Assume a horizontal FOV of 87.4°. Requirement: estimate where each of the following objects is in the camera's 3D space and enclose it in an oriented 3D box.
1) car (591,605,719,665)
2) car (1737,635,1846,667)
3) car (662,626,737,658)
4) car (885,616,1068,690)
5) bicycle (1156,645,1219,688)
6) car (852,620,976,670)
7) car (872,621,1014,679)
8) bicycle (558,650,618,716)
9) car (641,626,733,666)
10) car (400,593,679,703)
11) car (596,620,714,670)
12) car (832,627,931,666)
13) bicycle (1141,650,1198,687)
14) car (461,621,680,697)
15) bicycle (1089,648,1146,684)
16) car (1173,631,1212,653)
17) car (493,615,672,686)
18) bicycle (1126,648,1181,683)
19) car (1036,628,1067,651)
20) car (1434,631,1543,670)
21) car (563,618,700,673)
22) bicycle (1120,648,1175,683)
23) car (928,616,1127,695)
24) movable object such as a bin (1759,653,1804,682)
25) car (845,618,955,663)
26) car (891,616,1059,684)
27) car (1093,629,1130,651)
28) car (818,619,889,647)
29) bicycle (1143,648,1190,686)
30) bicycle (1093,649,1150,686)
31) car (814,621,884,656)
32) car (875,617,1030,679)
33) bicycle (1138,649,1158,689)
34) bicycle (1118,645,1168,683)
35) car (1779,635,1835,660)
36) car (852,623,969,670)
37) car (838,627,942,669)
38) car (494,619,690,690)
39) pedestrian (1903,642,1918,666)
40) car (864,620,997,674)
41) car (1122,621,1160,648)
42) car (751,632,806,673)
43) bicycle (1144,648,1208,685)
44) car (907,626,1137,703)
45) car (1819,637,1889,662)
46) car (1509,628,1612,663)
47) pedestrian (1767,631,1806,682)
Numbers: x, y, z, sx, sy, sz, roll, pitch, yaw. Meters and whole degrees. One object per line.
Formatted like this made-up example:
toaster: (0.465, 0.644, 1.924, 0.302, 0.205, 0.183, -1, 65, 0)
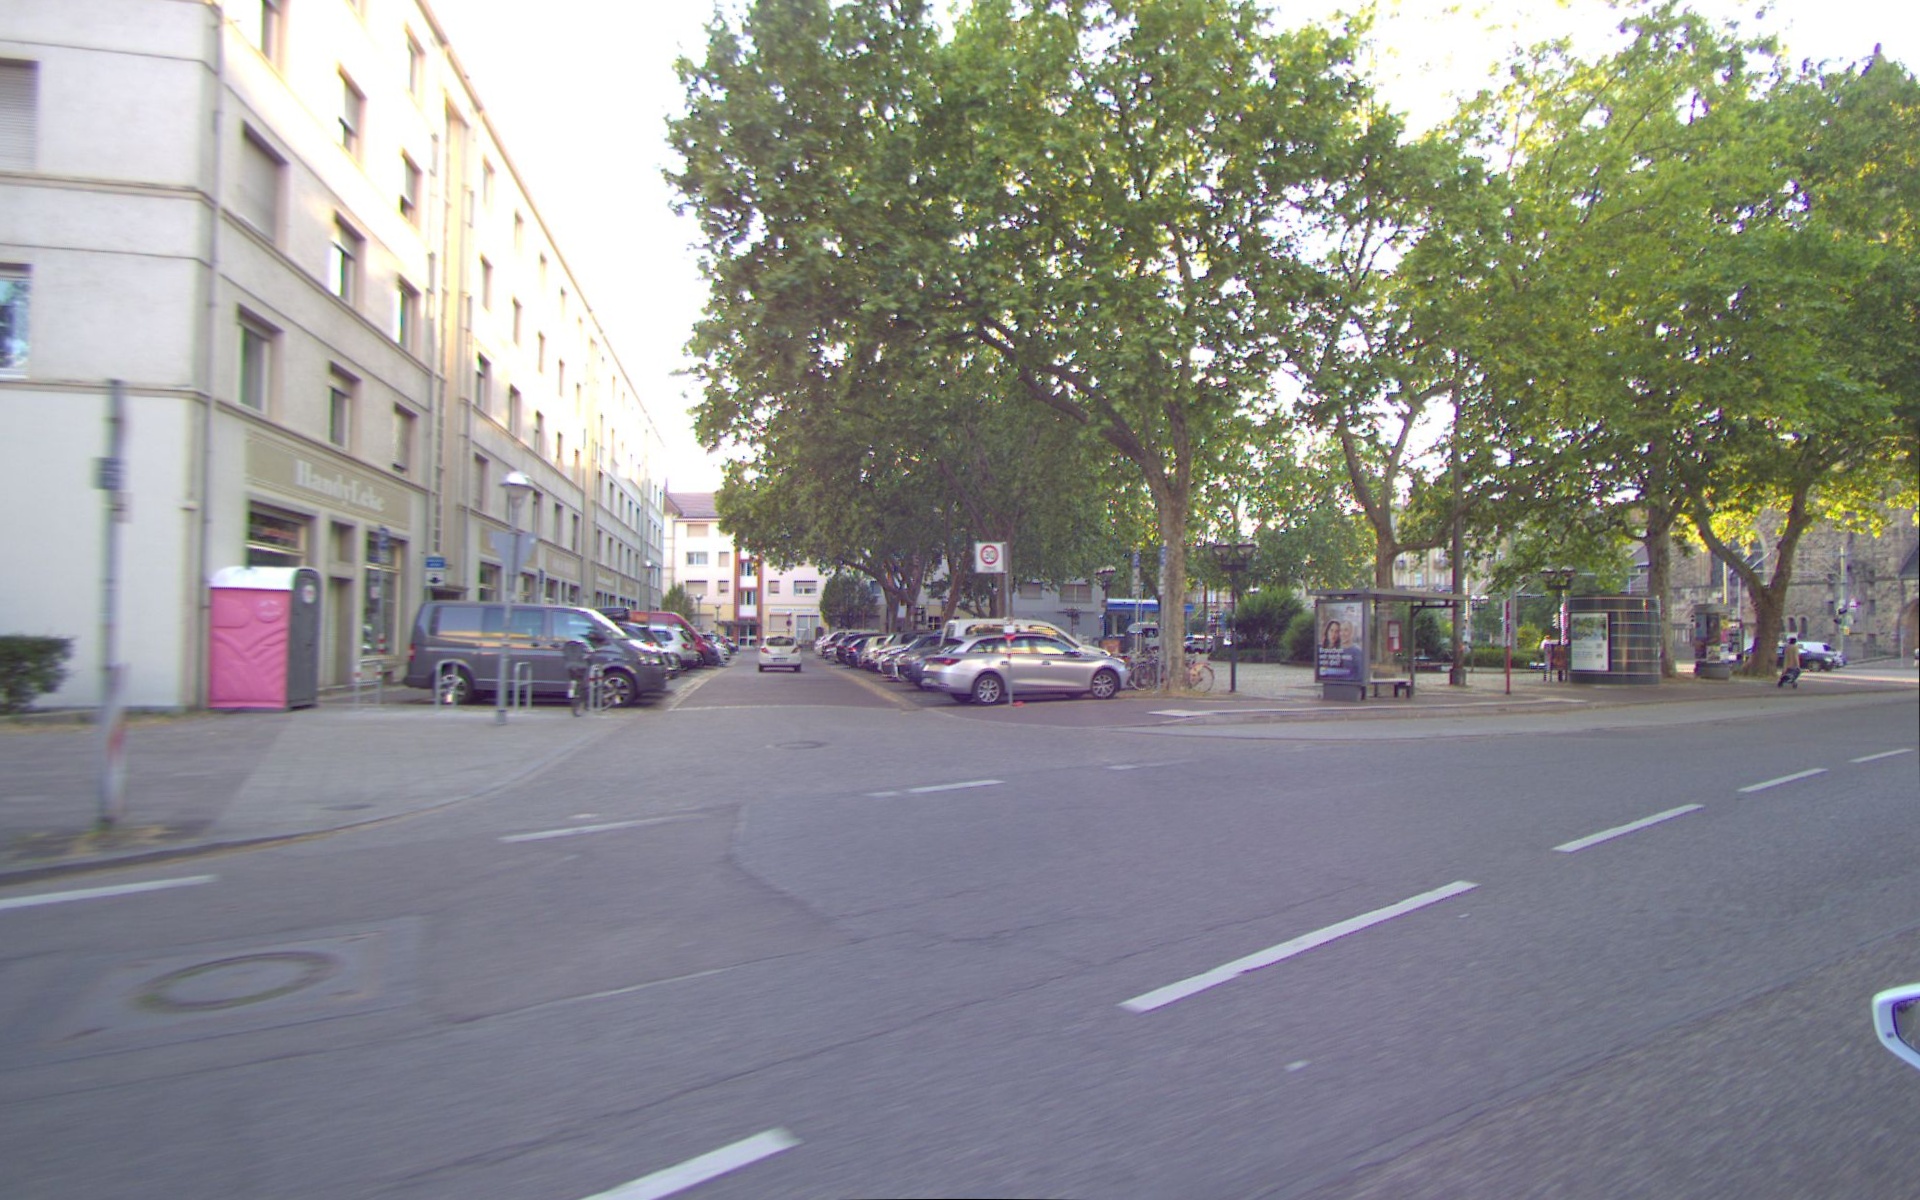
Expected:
car: (-13.503, 1.572, 44.764, 5.192, 2.536, 1.996, 2, -2, -11)
car: (45.630, 2.777, 55.190, 1.978, 1.672, 4.229, 1, -2, -32)
car: (-15.761, 2.550, 60.874, 4.263, 1.866, 1.927, 2, -2, -12)
car: (0.383, 1.374, 26.826, 4.550, 1.865, 2.080, 0, -1, -12)
bicycle: (5.899, 1.716, 26.062, 1.564, 1.088, 0.402, 1, -1, -7)
car: (-1.843, 1.736, 39.500, 4.554, 1.865, 2.079, 0, -1, -16)
car: (-0.614, 1.676, 34.213, 4.549, 1.865, 2.081, 0, -1, -12)
bicycle: (-6.410, 1.407, 17.389, 0.470, 1.056, 1.824, 0, -2, -4)
car: (-13.533, 2.285, 50.100, 4.263, 1.866, 1.927, 2, -2, -12)
car: (-8.183, 0.969, 20.050, 4.761, 1.999, 1.996, 2, -2, -11)
car: (-12.010, 1.779, 39.850, 4.263, 1.866, 1.927, 2, -2, -12)
car: (-3.905, 2.279, 49.797, 4.555, 1.865, 2.078, 0, -1, -16)
bicycle: (5.651, 1.836, 27.121, 1.476, 0.981, 0.395, 1, -1, -7)
car: (-8.542, 1.310, 22.430, 4.263, 1.558, 1.927, 2, -2, -12)
bicycle: (4.338, 1.822, 27.682, 1.476, 0.981, 0.395, 1, -1, -7)
car: (20.748, 3.719, 89.837, 1.896, 1.866, 4.333, 1, -2, -9)
car: (-10.154, 1.369, 27.351, 4.263, 1.773, 1.927, 2, -2, -12)
bicycle: (5.419, 1.836, 28.155, 1.476, 0.981, 0.395, 1, -1, -7)
car: (7.896, 3.423, 87.171, 1.894, 1.866, 4.336, 1, -2, -5)
car: (26.656, 2.529, 50.740, 4.547, 1.865, 2.082, 0, -1, -10)
car: (-11.325, 1.590, 34.907, 4.263, 1.773, 1.927, 2, -2, -12)
bicycle: (5.344, 1.858, 28.645, 1.476, 0.981, 0.395, 1, -1, -7)
car: (1.604, 1.312, 24.609, 4.550, 1.824, 1.821, 0, -1, -12)
movable object such as a bin: (26.843, 2.209, 32.837, 0.967, 0.902, 0.737, 1, -2, -20)
car: (-2.663, 1.761, 44.348, 4.555, 1.865, 2.078, 0, -1, -16)
car: (0.395, 1.418, 29.157, 4.550, 1.865, 2.080, 0, -1, -12)
car: (13.285, 3.497, 88.246, 1.896, 1.866, 4.333, 1, -2, -9)
car: (-7.289, 2.233, 68.570, 4.555, 1.865, 2.078, 0, -1, -16)
bicycle: (5.677, 1.829, 27.571, 1.491, 0.981, 0.391, 2, -2, -38)
bicycle: (4.343, 1.808, 27.057, 1.476, 0.981, 0.395, 1, -1, -7)
car: (-7.865, 2.738, 71.052, 4.761, 2.370, 1.996, 2, -2, -11)
car: (-0.276, 1.478, 31.655, 4.550, 1.865, 2.080, 0, -1, -12)
bicycle: (4.834, 1.761, 25.884, 0.387, 0.981, 1.505, 0, -2, 7)
bicycle: (5.350, 1.866, 29.368, 1.482, 1.063, 0.393, 1, -2, -22)
car: (69.344, 3.877, 82.254, 3.430, 1.935, 1.711, 1, -2, -8)
car: (-2.088, 1.905, 41.941, 4.555, 1.865, 2.078, 0, -1, -16)
car: (-3.292, 2.199, 46.938, 4.555, 1.865, 2.078, 0, -1, -16)
car: (-8.986, 1.344, 24.908, 4.263, 1.616, 2.045, 2, -2, -12)
pedestrian: (64.707, 3.692, 68.404, 0.540, 1.605, 0.555, 1, -1, -24)
car: (-1.101, 1.702, 36.848, 4.553, 1.865, 2.079, 0, -1, -15)
car: (15.819, 2.989, 88.037, 1.896, 2.289, 4.333, 1, -2, -9)
car: (-7.469, 2.108, 41.092, 1.966, 1.539, 3.990, 1, -2, -14)
bicycle: (5.740, 1.769, 26.732, 1.612, 0.981, 0.408, 1, -1, -7)
car: (1.296, 1.315, 21.348, 4.558, 1.501, 1.818, 0, -2, -18)
car: (69.458, 3.847, 78.112, 1.683, 1.829, 3.797, 1, -2, -13)
car: (32.713, 2.449, 54.771, 4.547, 1.865, 2.082, 0, -1, -10)
pedestrian: (27.427, 1.856, 33.329, 0.675, 1.650, 0.737, 1, -1, -19)
